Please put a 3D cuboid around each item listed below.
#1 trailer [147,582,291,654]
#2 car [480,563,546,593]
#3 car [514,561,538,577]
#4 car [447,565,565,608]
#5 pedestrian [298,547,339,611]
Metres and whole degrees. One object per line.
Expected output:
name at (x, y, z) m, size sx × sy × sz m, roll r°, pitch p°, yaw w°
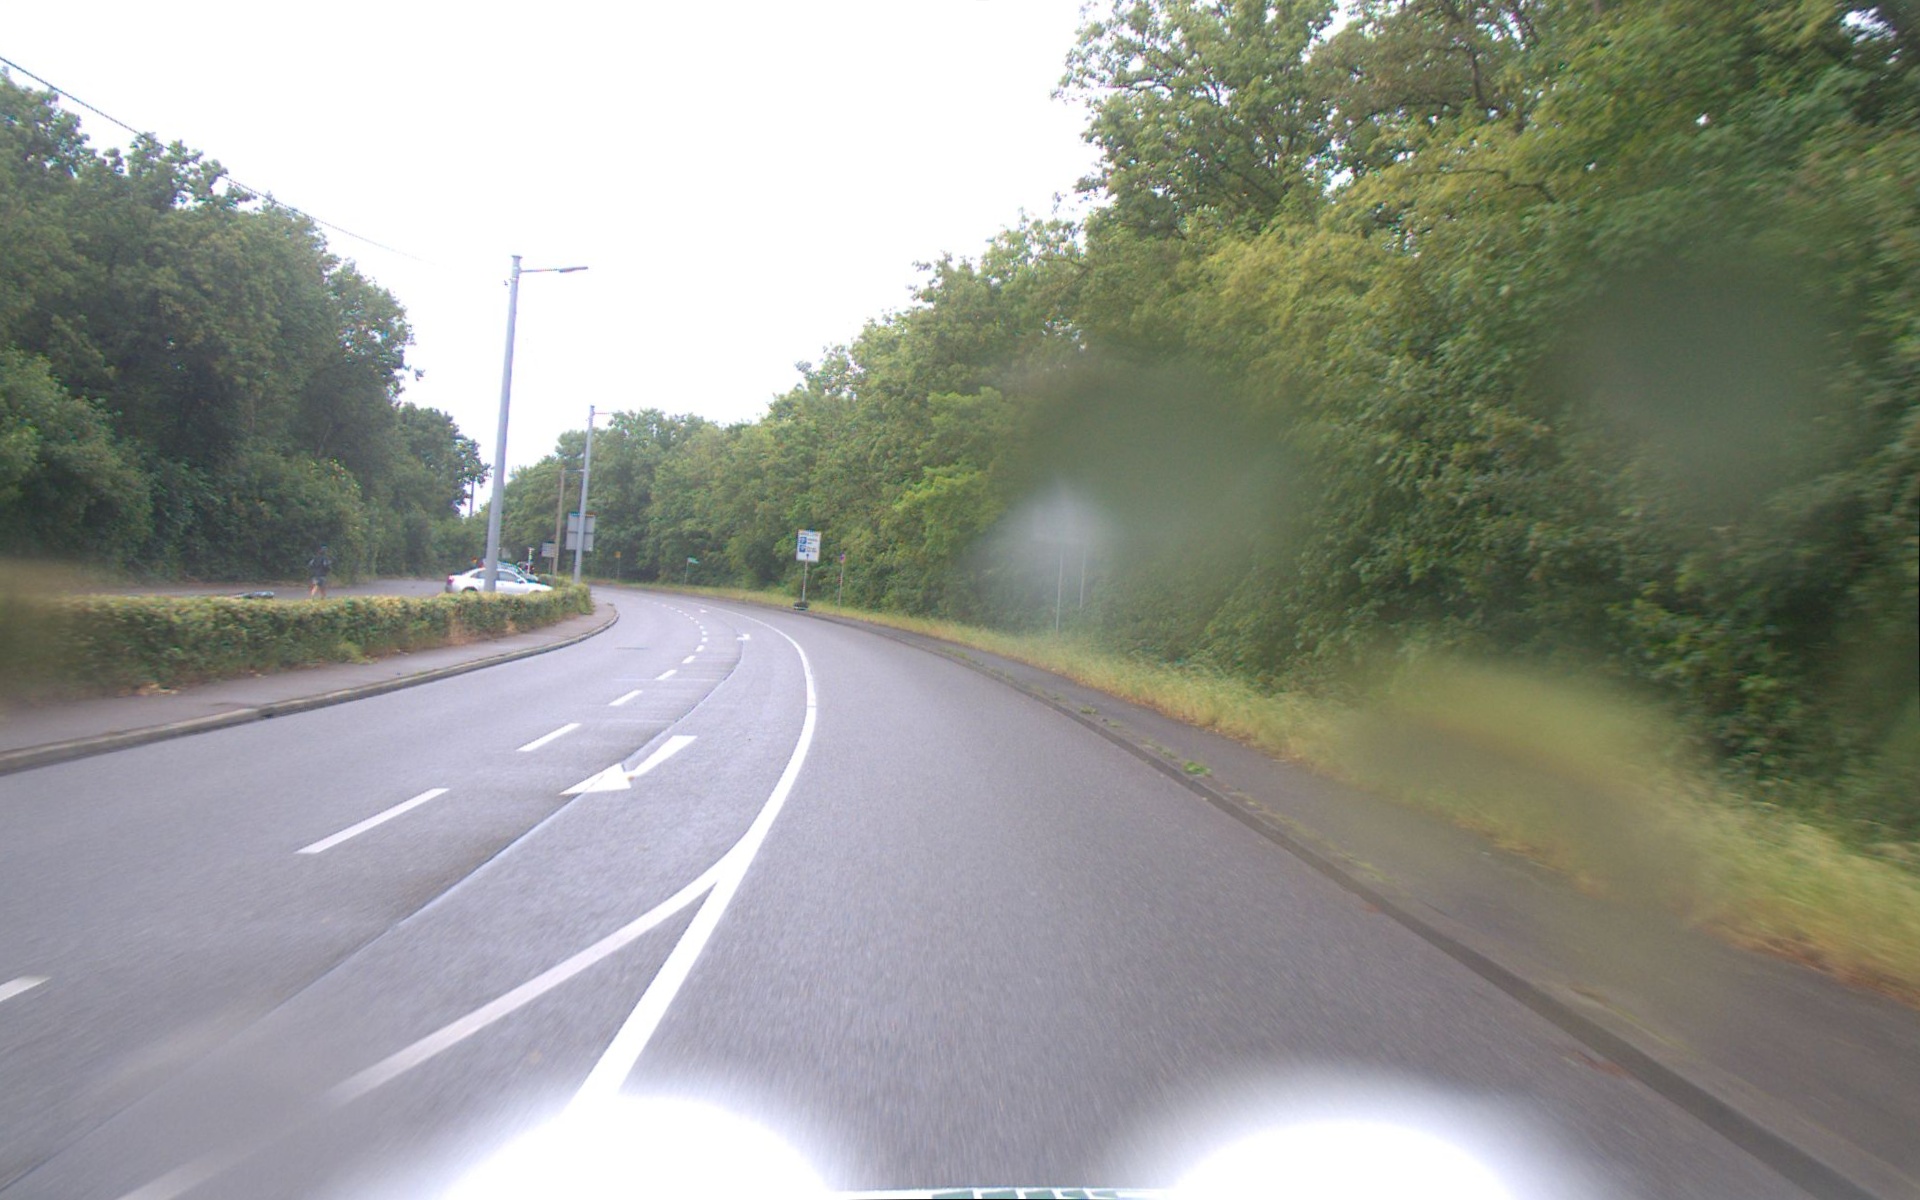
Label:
trailer at (-11.860, 0.280, 26.562) m, size 1.768 × 1.052 × 1.331 m, roll 3°, pitch 0°, yaw -9°
car at (-30.298, -1.499, 112.178) m, size 4.219 × 1.738 × 1.993 m, roll 3°, pitch 0°, yaw -15°
car at (-47.385, -3.389, 180.489) m, size 1.908 × 1.524 × 4.289 m, roll 2°, pitch 1°, yaw -23°
car at (-18.525, -0.550, 67.524) m, size 4.503 × 1.532 × 1.990 m, roll 3°, pitch 0°, yaw -18°
pedestrian at (-18.703, -0.613, 48.269) m, size 0.802 × 1.829 × 1.134 m, roll 2°, pitch 0°, yaw -8°
